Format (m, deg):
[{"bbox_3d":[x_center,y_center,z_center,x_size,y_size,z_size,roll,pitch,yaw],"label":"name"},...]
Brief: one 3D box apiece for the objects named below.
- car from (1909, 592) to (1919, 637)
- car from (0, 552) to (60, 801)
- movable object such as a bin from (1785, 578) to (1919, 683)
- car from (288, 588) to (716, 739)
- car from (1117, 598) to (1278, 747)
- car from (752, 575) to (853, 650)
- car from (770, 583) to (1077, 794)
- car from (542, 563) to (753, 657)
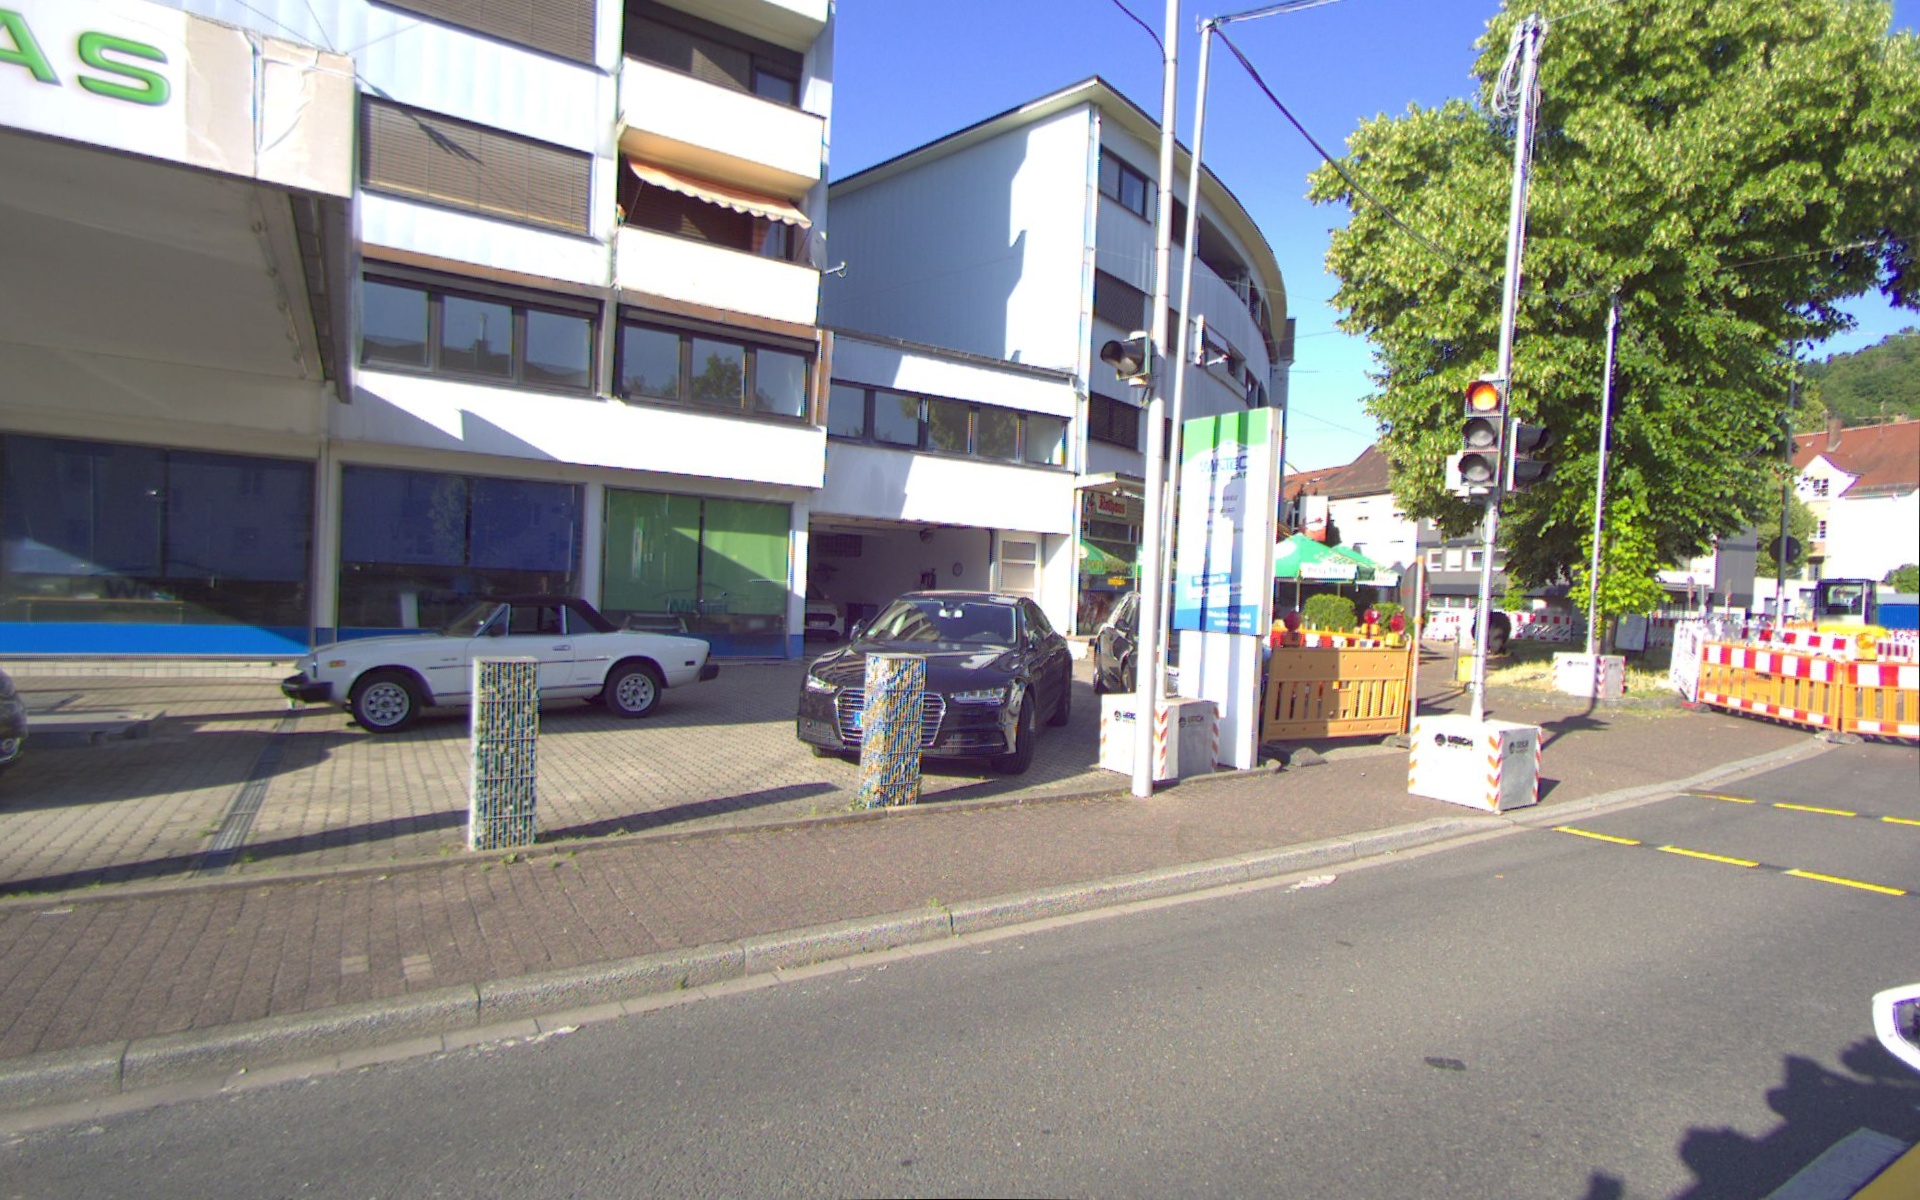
[{"bbox_3d":[49.527,0.791,48.362,6.043,2.149,2.586,2,0,-12],"label":"car"},{"bbox_3d":[-7.481,0.408,5.852,3.305,1.506,1.543,2,0,8],"label":"car"},{"bbox_3d":[21.531,0.702,24.152,3.882,2.356,1.635,1,0,-36],"label":"movable object such as a bin"},{"bbox_3d":[-4.675,0.592,10.480,3.865,1.315,1.511,1,-1,-35],"label":"car"},{"bbox_3d":[2.758,0.745,12.073,1.564,1.457,3.887,1,0,11],"label":"car"},{"bbox_3d":[-3.894,0.254,24.374,1.550,1.629,3.734,2,1,-23],"label":"car"},{"bbox_3d":[-0.025,0.650,9.564,1.893,1.457,4.692,1,-1,11],"label":"car"},{"bbox_3d":[-6.100,0.218,19.703,3.593,1.696,1.707,2,0,-34],"label":"car"}]
